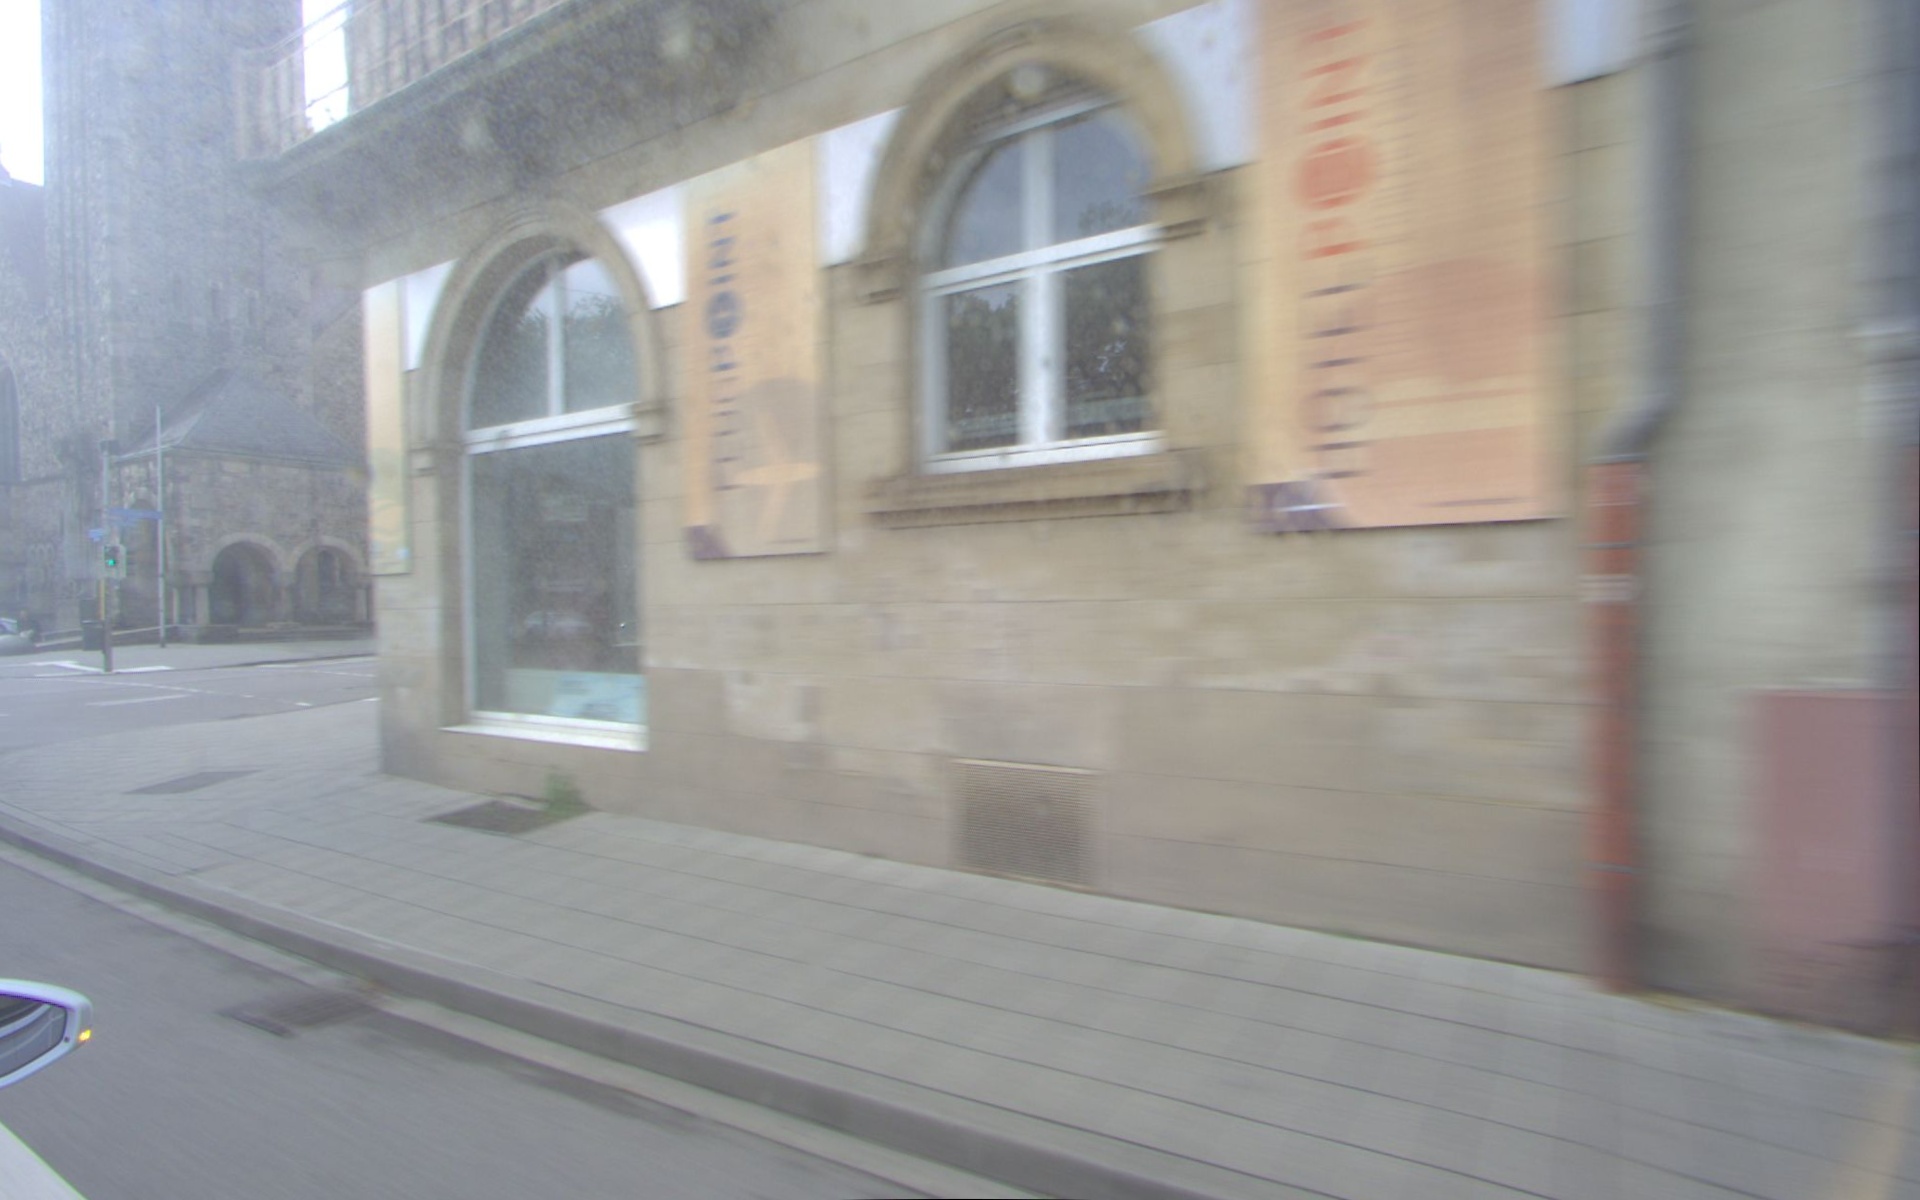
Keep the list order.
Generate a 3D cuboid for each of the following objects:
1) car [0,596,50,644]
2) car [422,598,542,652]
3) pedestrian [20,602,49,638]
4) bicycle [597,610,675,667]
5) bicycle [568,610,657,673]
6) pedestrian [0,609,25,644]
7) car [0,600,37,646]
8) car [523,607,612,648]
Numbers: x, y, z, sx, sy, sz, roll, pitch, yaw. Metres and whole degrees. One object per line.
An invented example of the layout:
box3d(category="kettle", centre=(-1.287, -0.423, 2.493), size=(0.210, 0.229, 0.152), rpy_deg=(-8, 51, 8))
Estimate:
box3d(category="car", centre=(-38.786, 0.766, 39.076), size=(1.639, 1.905, 4.602), rpy_deg=(0, -1, 32))
box3d(category="car", centre=(-15.481, 0.764, 32.668), size=(1.623, 1.548, 3.891), rpy_deg=(-2, 1, 8))
box3d(category="pedestrian", centre=(-33.079, 0.715, 35.793), size=(0.731, 1.244, 1.053), rpy_deg=(1, -1, -42))
box3d(category="bicycle", centre=(-7.236, 0.853, 22.368), size=(1.542, 1.187, 0.476), rpy_deg=(-3, -1, 7))
box3d(category="bicycle", centre=(-6.777, 0.816, 19.554), size=(1.542, 1.141, 0.476), rpy_deg=(-3, -1, 7))
box3d(category="pedestrian", centre=(-33.197, 0.922, 34.782), size=(1.472, 1.207, 0.735), rpy_deg=(0, -1, 33))
box3d(category="car", centre=(-36.577, 0.825, 36.294), size=(1.639, 1.657, 4.341), rpy_deg=(0, -1, 32))
box3d(category="car", centre=(-14.989, 1.028, 38.456), size=(1.576, 1.476, 3.718), rpy_deg=(-2, -1, 7))
